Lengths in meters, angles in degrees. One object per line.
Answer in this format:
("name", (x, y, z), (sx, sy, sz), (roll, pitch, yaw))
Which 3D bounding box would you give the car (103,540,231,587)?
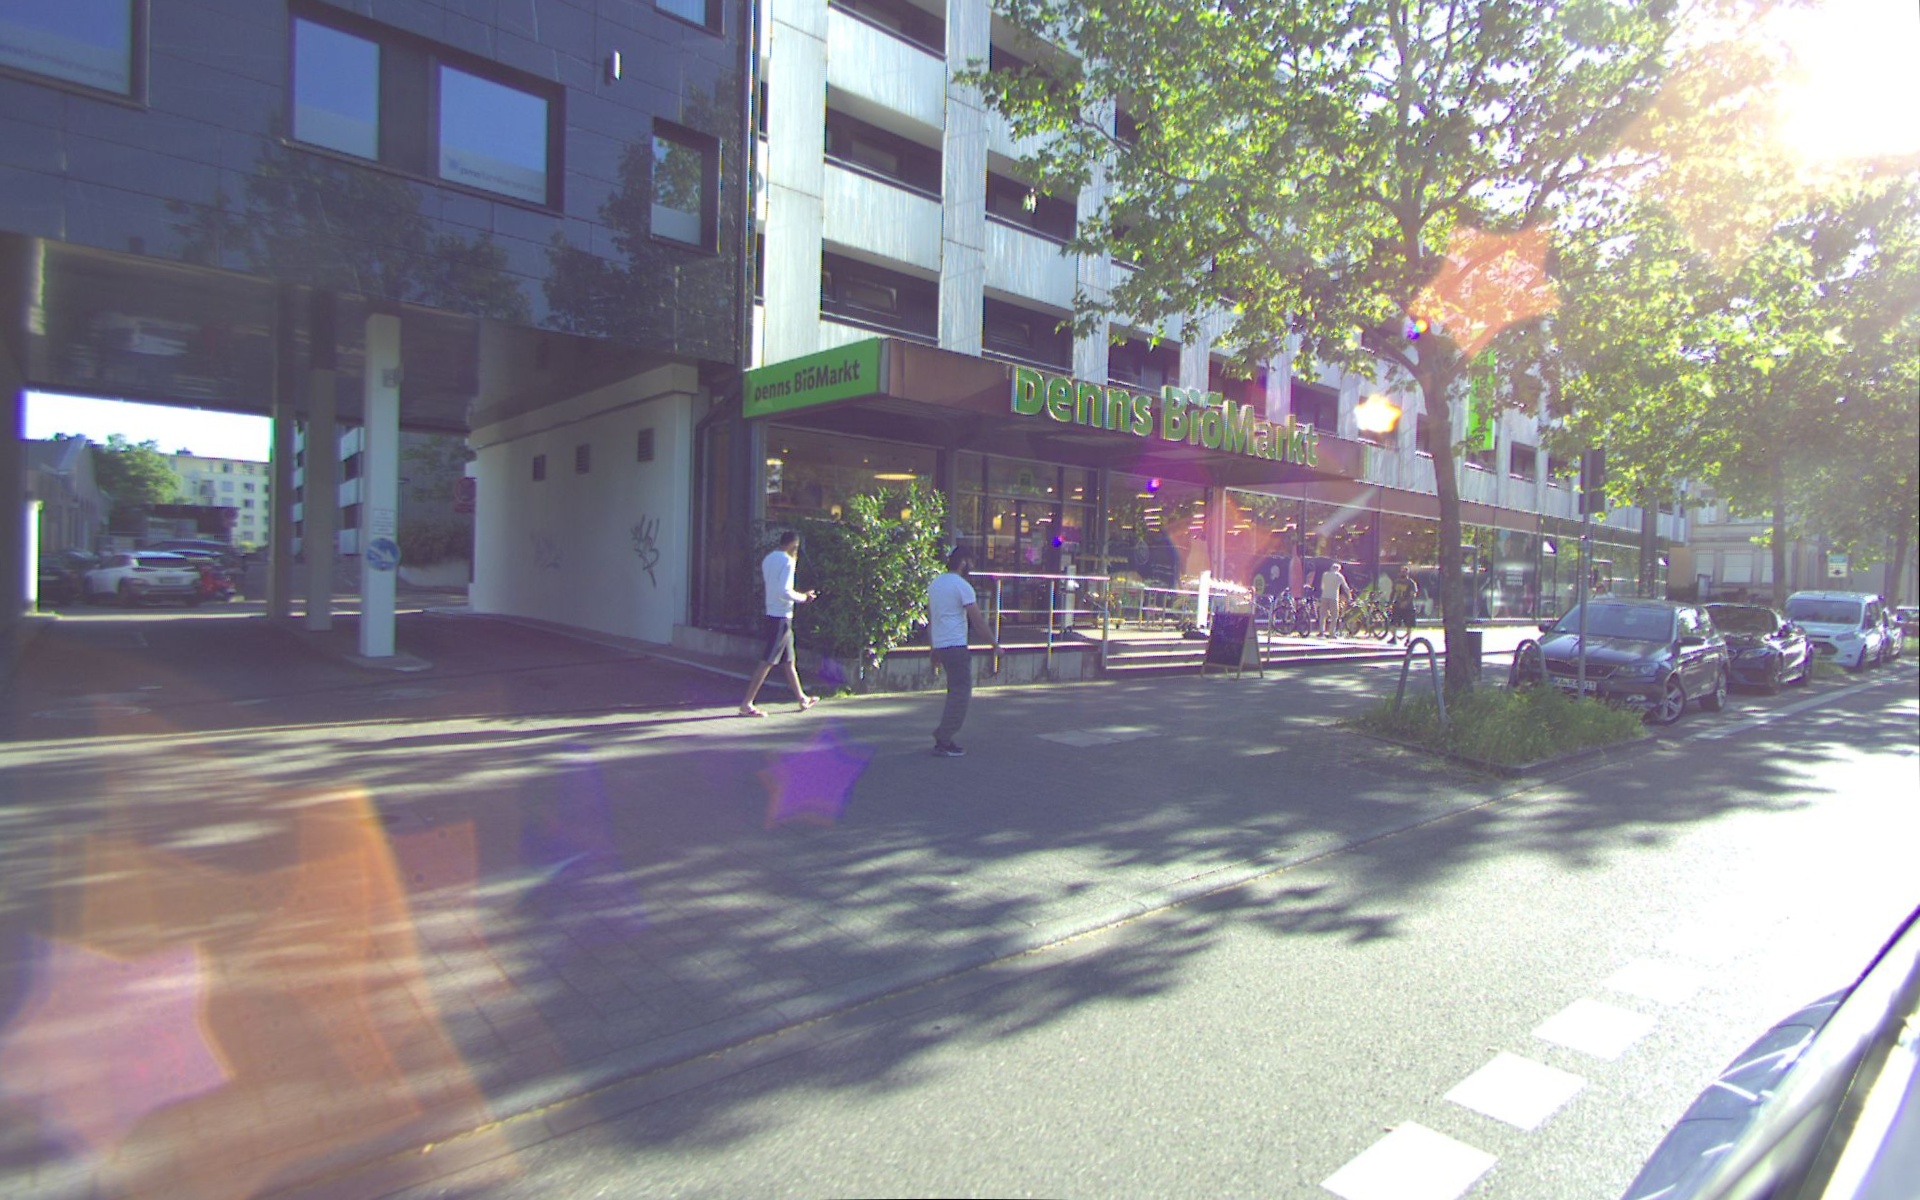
("car", (-28.552, -1.306, 36.486), (3.550, 1.562, 1.552), (0, 2, -41))

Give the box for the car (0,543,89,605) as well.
("car", (-26.230, -0.765, 28.357), (3.973, 1.638, 1.801), (3, 2, 34))

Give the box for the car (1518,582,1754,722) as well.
("car", (9.027, 0.578, 13.397), (3.929, 1.569, 1.568), (0, 1, -40))

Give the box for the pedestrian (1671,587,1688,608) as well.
("pedestrian", (38.260, -0.141, 53.799), (0.672, 1.123, 0.560), (1, 2, -40))

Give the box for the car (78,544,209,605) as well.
("car", (-23.833, -0.770, 29.505), (3.973, 1.638, 1.920), (3, 2, 34))

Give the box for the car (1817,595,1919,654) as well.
("car", (25.366, 0.642, 28.101), (4.220, 1.420, 1.732), (0, 3, -41))

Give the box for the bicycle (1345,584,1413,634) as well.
("bicycle", (10.297, 0.202, 24.947), (0.573, 1.068, 1.709), (3, 2, -14))

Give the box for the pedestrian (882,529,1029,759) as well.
("pedestrian", (-0.029, 0.321, 8.164), (1.033, 1.725, 0.561), (0, 2, -41))

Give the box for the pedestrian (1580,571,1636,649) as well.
("pedestrian", (14.111, 0.213, 22.037), (0.852, 1.632, 0.700), (1, 3, -39))

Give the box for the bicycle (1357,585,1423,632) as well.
("bicycle", (10.924, 0.200, 25.793), (0.573, 1.068, 1.710), (2, 3, -14))

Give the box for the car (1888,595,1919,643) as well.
("car", (32.622, 0.643, 34.022), (3.627, 1.455, 1.676), (-1, 4, -42))

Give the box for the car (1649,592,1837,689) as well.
("car", (13.798, 0.616, 17.727), (4.619, 1.435, 1.764), (0, 2, -42))

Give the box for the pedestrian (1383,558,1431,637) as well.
("pedestrian", (9.931, -0.066, 22.485), (0.867, 1.698, 0.559), (0, 3, -41))

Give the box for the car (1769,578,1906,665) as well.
("car", (20.791, 0.465, 23.916), (4.315, 1.814, 1.768), (1, 2, -41))

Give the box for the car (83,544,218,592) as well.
("car", (-27.600, -1.075, 34.574), (3.550, 1.562, 1.552), (0, 2, -41))

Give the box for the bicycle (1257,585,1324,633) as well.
("bicycle", (7.417, 0.187, 22.781), (0.573, 0.927, 1.656), (5, 2, -14))

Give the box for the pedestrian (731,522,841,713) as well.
("pedestrian", (-1.691, 0.152, 9.853), (0.863, 1.766, 0.561), (0, 2, -41))

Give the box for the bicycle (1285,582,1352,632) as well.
("bicycle", (8.543, 0.144, 24.186), (0.573, 1.068, 1.709), (5, 2, -14))

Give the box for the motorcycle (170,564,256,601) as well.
("motorcycle", (-23.579, -0.561, 31.938), (2.511, 1.079, 1.086), (2, 2, 24))

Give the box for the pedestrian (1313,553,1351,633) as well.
("pedestrian", (8.493, -0.175, 23.113), (0.606, 1.735, 0.609), (7, 4, 20))
